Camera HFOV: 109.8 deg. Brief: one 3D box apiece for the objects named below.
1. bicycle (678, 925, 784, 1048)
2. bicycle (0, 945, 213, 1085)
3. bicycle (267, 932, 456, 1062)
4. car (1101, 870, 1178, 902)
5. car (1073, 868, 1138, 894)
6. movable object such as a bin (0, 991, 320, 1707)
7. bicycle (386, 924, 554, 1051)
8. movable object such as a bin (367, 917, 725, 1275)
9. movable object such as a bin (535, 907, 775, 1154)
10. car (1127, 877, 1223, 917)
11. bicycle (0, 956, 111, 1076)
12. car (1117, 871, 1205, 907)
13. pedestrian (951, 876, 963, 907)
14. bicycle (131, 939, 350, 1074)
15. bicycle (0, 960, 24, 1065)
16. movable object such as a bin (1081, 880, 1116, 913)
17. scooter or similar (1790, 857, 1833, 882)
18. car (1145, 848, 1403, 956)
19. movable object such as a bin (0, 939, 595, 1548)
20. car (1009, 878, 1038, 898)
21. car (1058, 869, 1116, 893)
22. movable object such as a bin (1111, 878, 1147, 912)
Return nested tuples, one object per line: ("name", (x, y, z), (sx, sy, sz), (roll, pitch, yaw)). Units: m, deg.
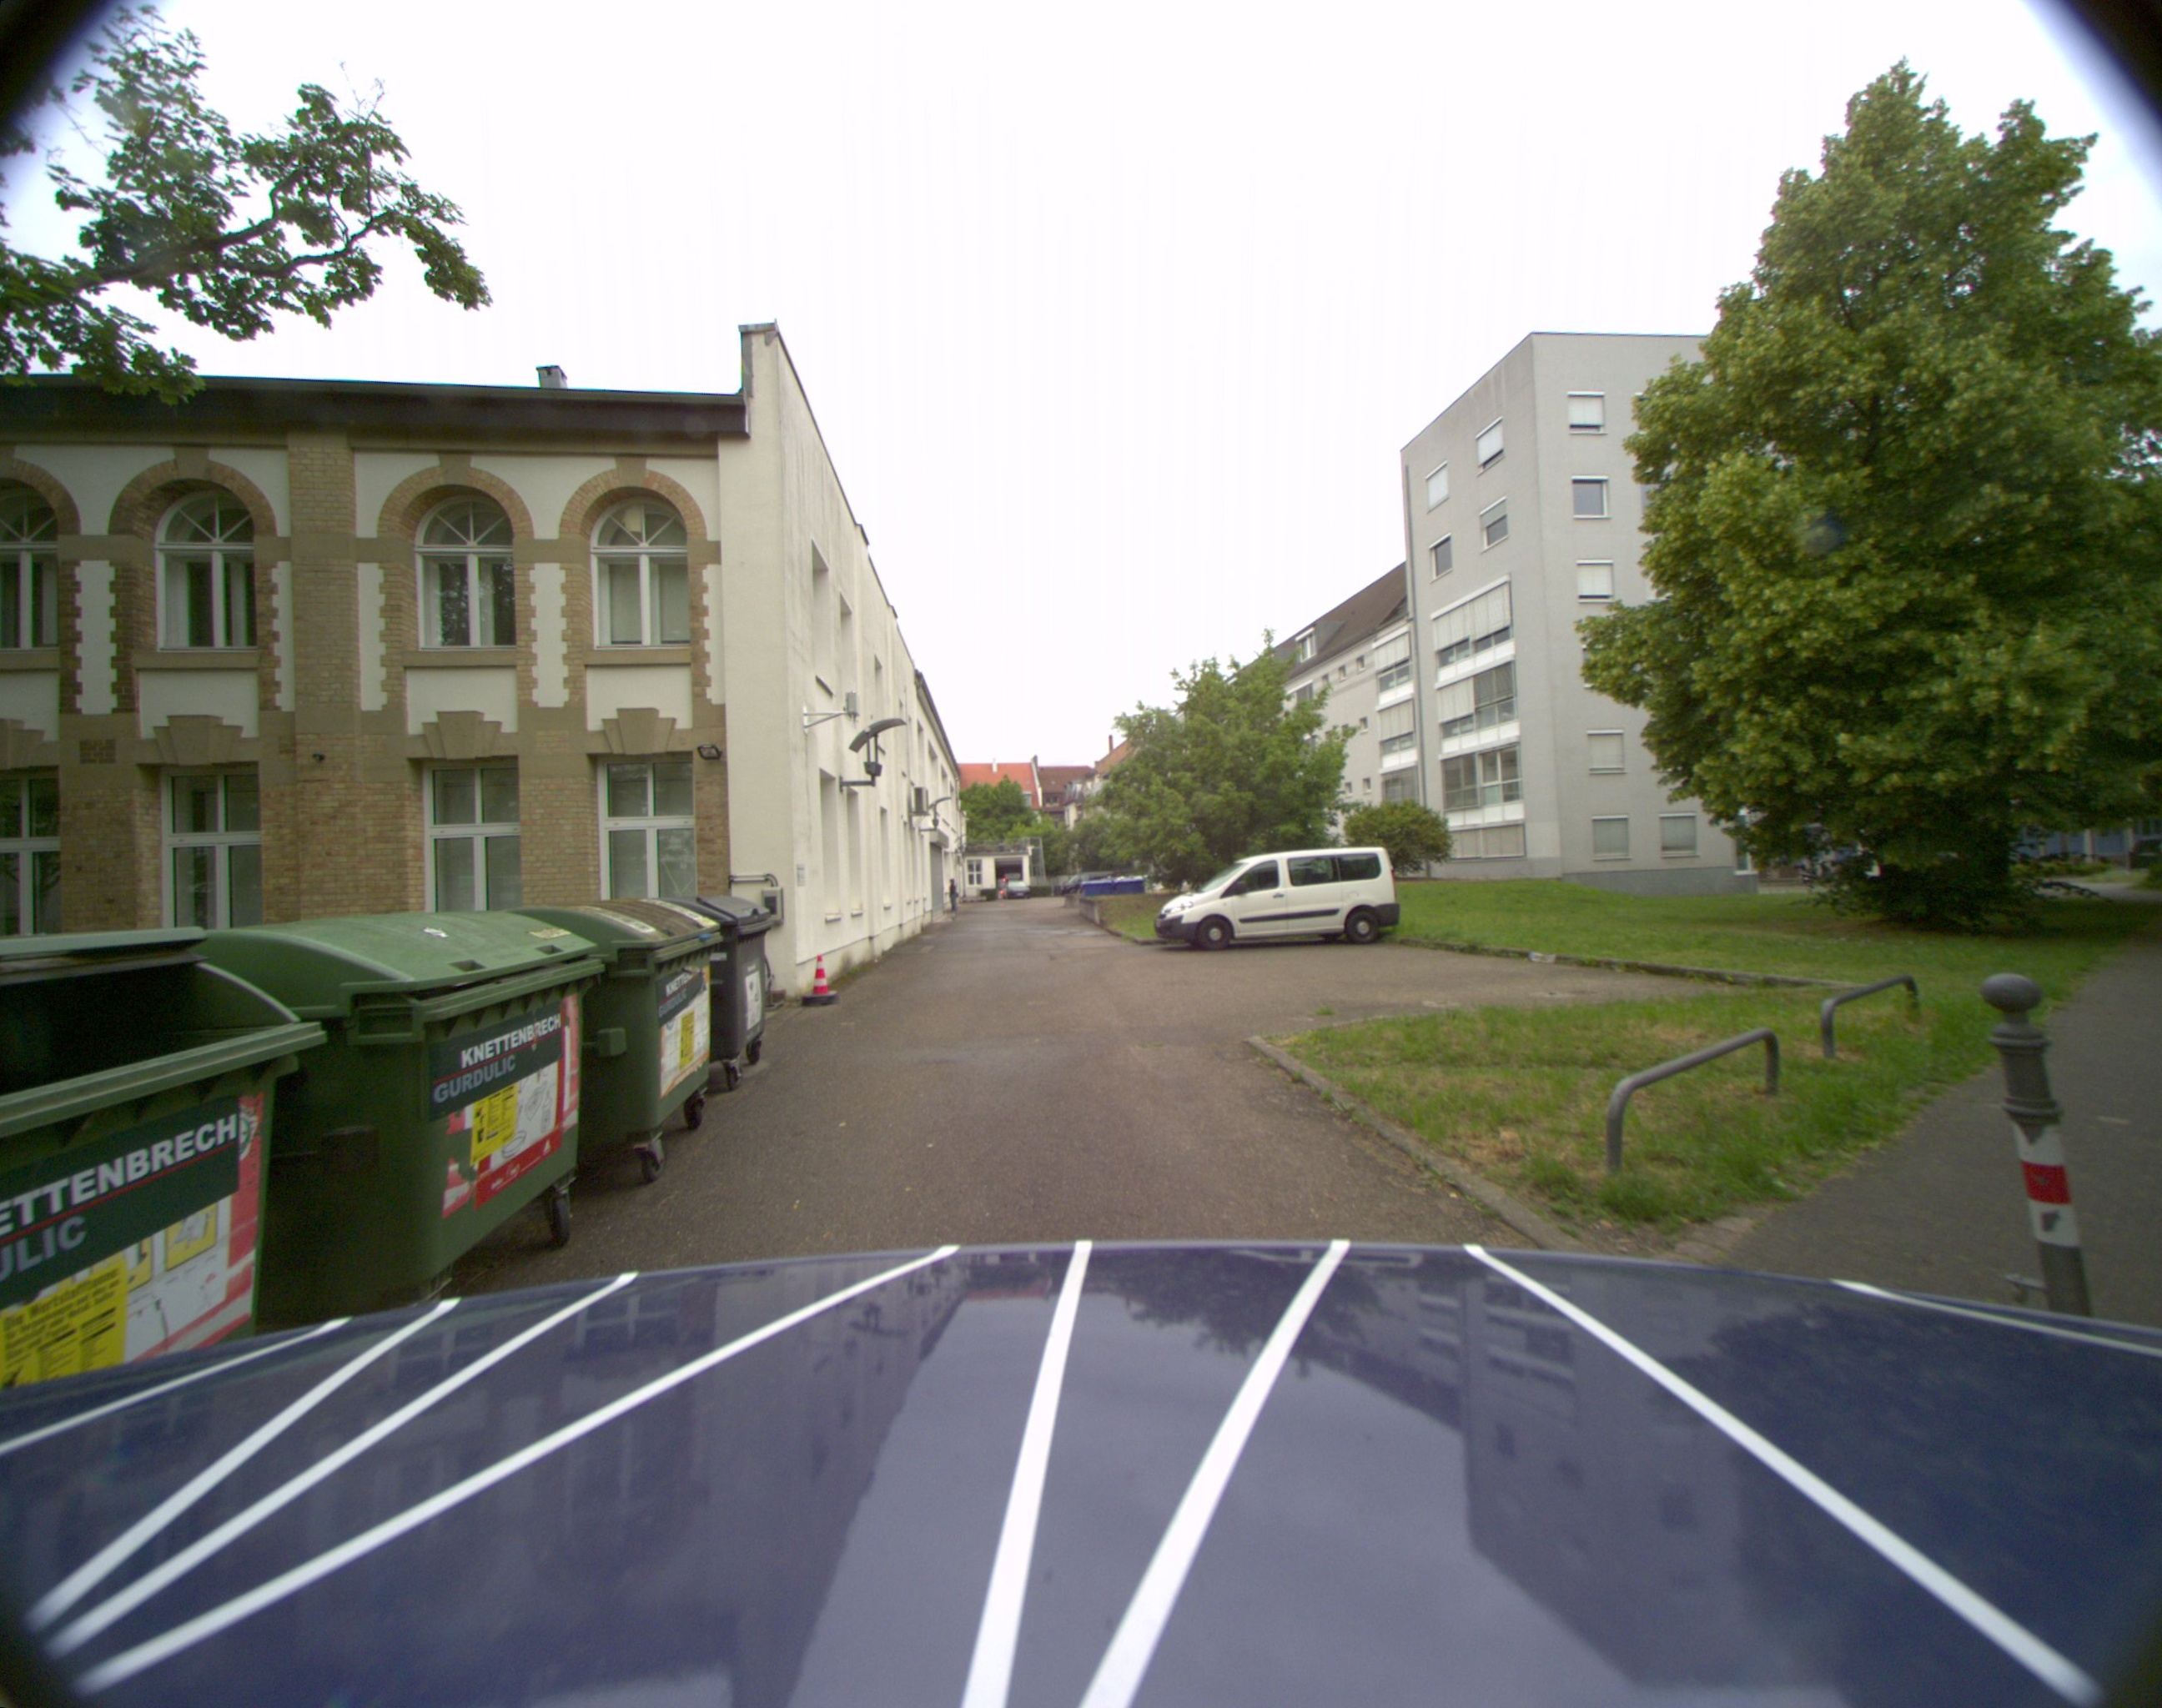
("bicycle", (-3.908, 1.427, 8.618), (0.460, 1.108, 1.744), (-2, -1, -4))
("bicycle", (-10.115, 1.583, 7.803), (0.460, 1.108, 1.744), (-2, -1, -4))
("bicycle", (-7.775, 1.488, 8.323), (0.460, 1.108, 1.744), (-2, -1, -4))
("car", (3.610, 1.969, 47.089), (4.342, 1.724, 1.998), (-2, -1, -12))
("car", (1.798, 1.972, 56.231), (4.342, 1.724, 1.998), (-2, -1, -12))
("movable object such as a bin", (-2.449, 1.088, 1.267), (1.109, 1.441, 1.285), (-3, -1, -13))
("bicycle", (-6.651, 1.405, 8.395), (0.460, 1.108, 1.745), (-2, -1, -2))
("movable object such as a bin", (-2.724, 1.129, 4.122), (1.109, 1.441, 1.325), (-3, -1, -13))
("movable object such as a bin", (-3.002, 1.167, 5.565), (1.109, 1.441, 1.361), (-3, -1, -11))
("car", (4.746, 2.145, 38.604), (4.342, 1.724, 1.998), (-2, -1, -12))
("bicycle", (-11.082, 1.684, 7.646), (0.460, 1.108, 1.744), (-2, -1, -4))
("car", (4.335, 1.881, 41.621), (4.342, 1.724, 1.998), (-2, -1, -12))
("pedestrian", (-6.189, 1.862, 37.863), (0.499, 1.553, 0.429), (-2, -1, -13))
("bicycle", (-8.859, 1.553, 8.121), (0.460, 1.108, 1.744), (-2, -1, -4))
("bicycle", (-11.921, 1.724, 7.549), (0.460, 1.108, 1.744), (-2, -1, -4))
("movable object such as a bin", (0.709, 1.727, 31.068), (1.181, 1.298, 1.227), (-3, -2, -7))
("scooter or similar", (37.849, 0.792, 39.337), (2.521, 1.180, 0.795), (-2, -1, -27))
("car", (3.881, 0.980, 15.824), (4.771, 1.861, 1.902), (-3, -3, -4))
("movable object such as a bin", (-2.655, 1.112, 2.725), (1.109, 1.441, 1.293), (-3, -1, -13))
("car", (-4.645, 2.670, 60.868), (1.920, 1.390, 3.997), (-3, 0, -9))
("car", (0.457, 2.157, 61.281), (4.342, 1.724, 1.998), (-2, -1, -12))
("movable object such as a bin", (1.959, 1.668, 31.239), (1.181, 1.298, 1.227), (-3, -2, -7))
